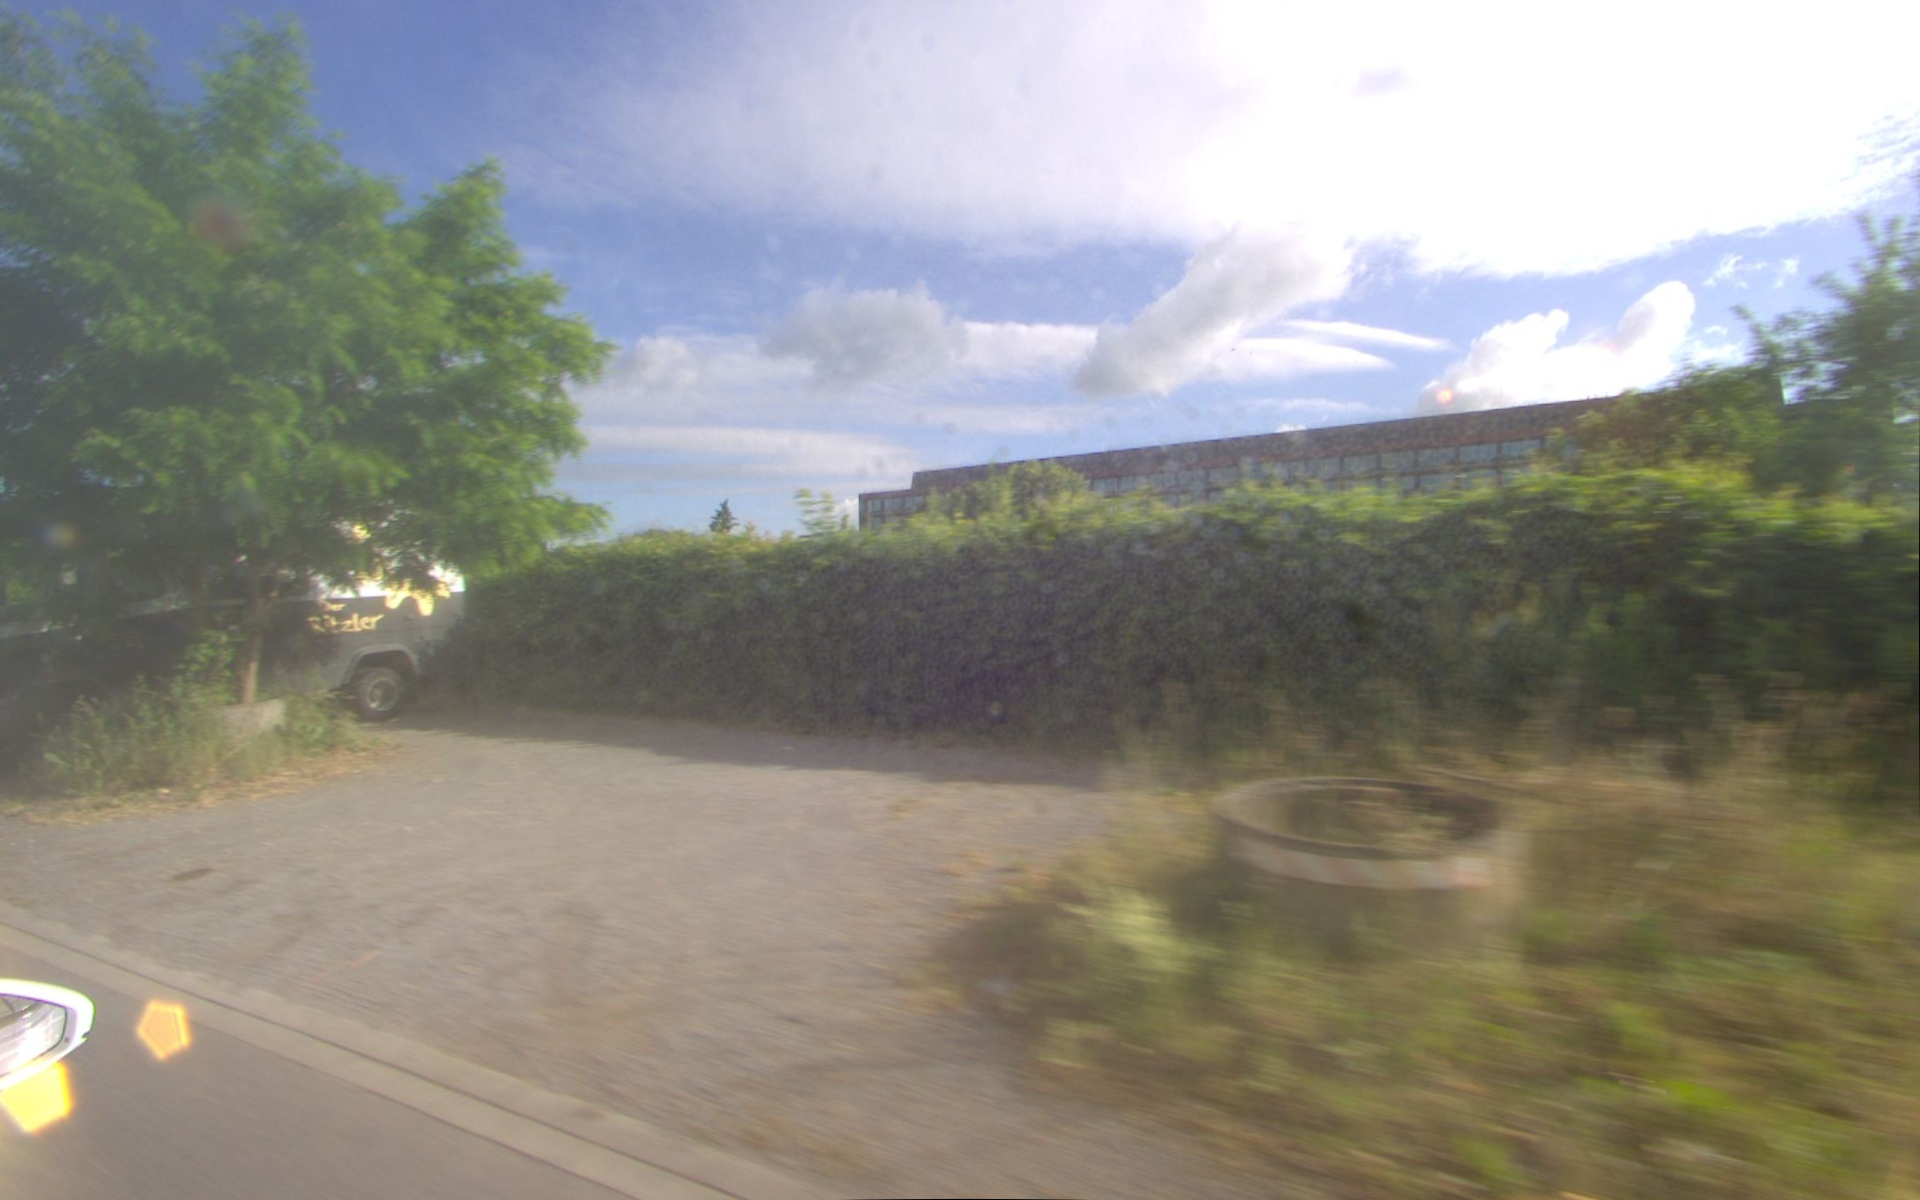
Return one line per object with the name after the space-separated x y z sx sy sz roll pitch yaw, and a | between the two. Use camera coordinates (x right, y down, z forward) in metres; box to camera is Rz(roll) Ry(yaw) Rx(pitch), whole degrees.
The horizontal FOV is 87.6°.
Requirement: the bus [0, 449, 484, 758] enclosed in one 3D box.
-8.536 0.025 11.529 2.036 2.783 5.361 -1 0 27 | bus
